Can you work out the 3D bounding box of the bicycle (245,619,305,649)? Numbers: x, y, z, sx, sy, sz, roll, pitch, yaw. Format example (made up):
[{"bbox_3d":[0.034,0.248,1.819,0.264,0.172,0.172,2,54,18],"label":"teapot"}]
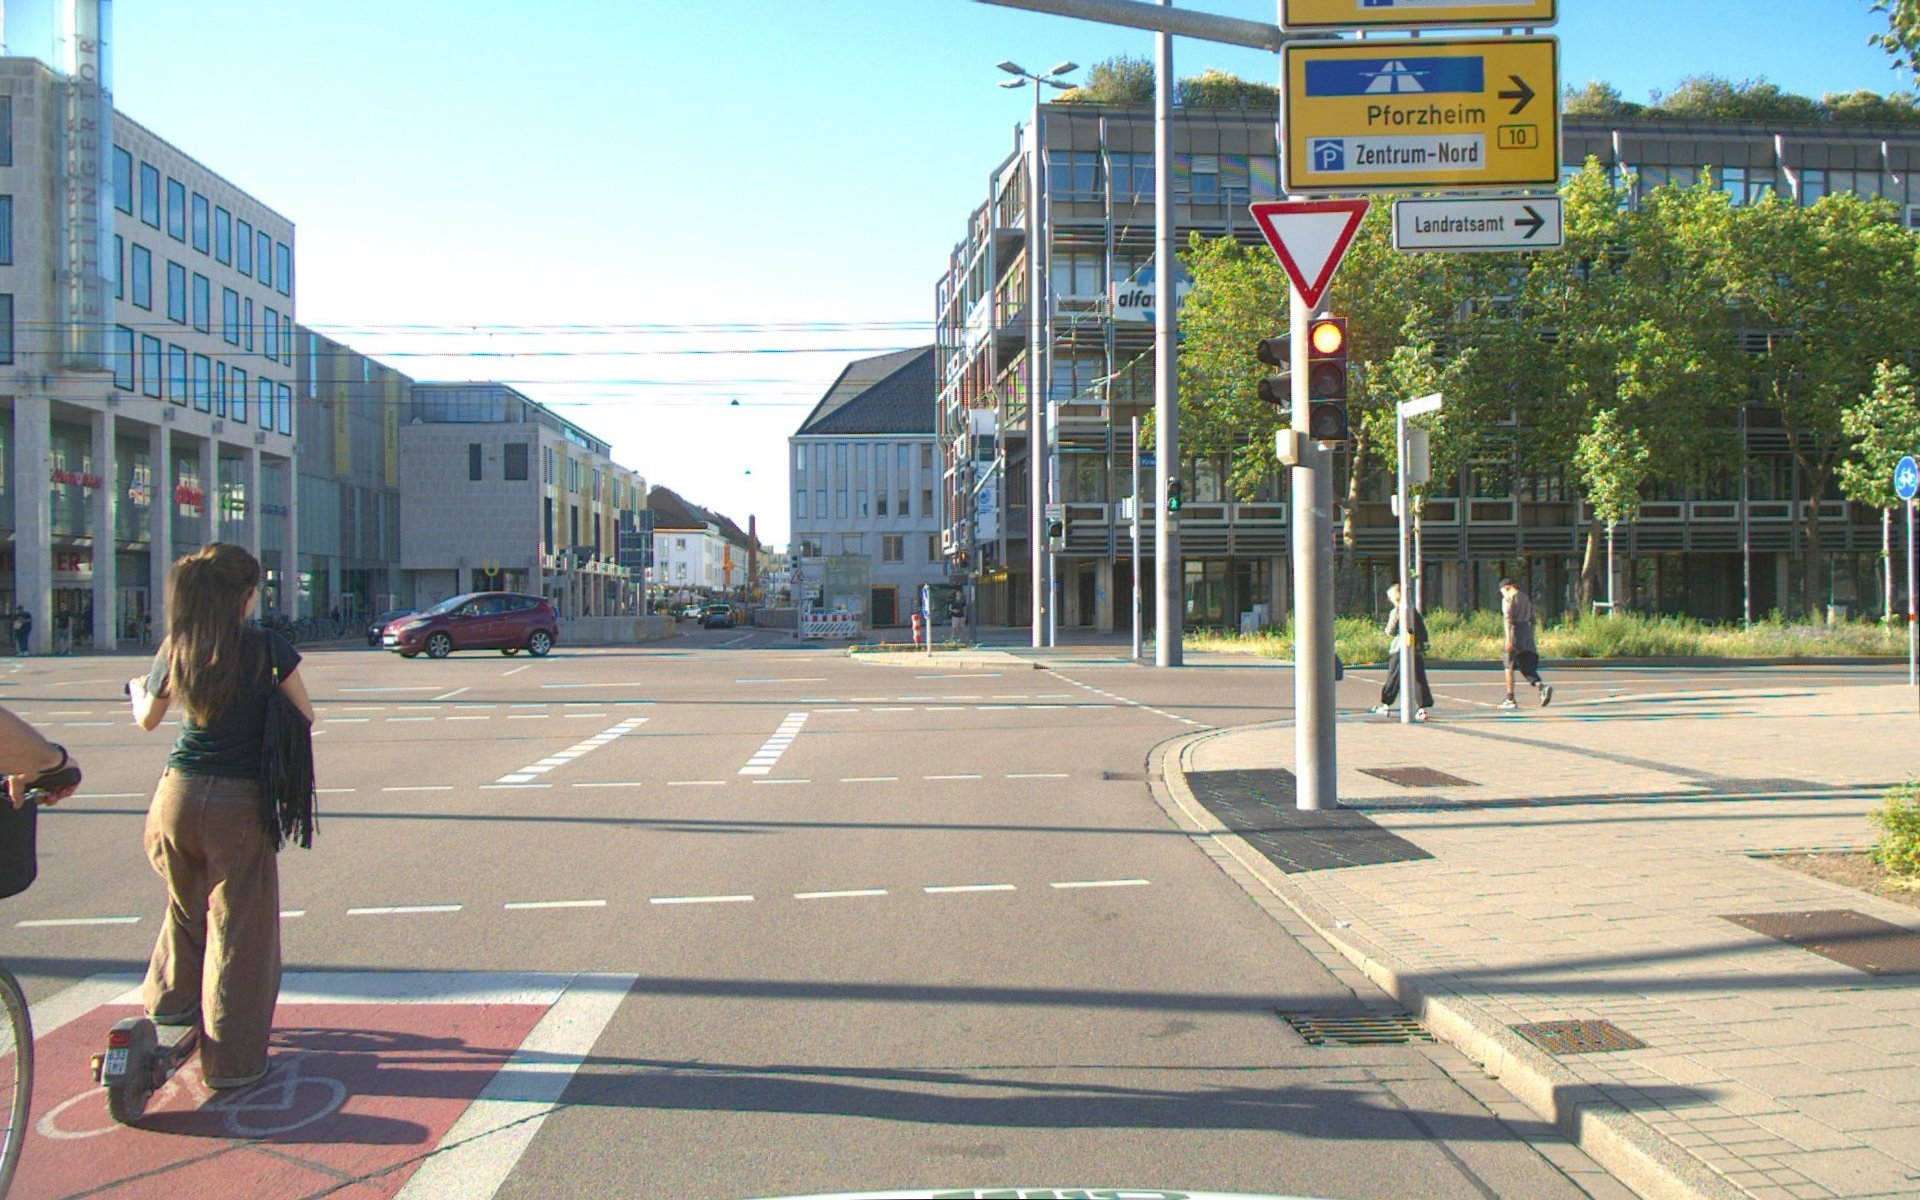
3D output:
[{"bbox_3d":[-29.295,1.437,70.752,2.260,1.244,0.611,0,0,-3],"label":"bicycle"}]

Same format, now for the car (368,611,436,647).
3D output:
[{"bbox_3d":[-23.382,1.207,69.481,1.597,1.365,3.998,-3,0,-3],"label":"car"}]

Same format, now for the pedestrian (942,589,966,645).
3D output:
[{"bbox_3d":[-0.207,0.577,57.295,0.772,1.923,0.644,1,-1,-1],"label":"pedestrian"}]

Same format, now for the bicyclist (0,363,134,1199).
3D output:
[{"bbox_3d":[-1.979,0.464,2.850,0.647,1.750,0.865,1,-1,-1],"label":"bicyclist"}]

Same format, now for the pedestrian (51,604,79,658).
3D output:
[{"bbox_3d":[-31.175,1.071,57.600,0.788,1.876,0.854,0,0,-33],"label":"pedestrian"}]

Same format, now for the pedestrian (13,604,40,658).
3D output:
[{"bbox_3d":[-32.866,1.080,58.259,0.787,1.876,0.856,0,0,-29],"label":"pedestrian"}]

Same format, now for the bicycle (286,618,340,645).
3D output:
[{"bbox_3d":[-30.070,1.450,76.845,2.260,1.244,0.611,0,0,-3],"label":"bicycle"}]

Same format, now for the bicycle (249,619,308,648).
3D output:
[{"bbox_3d":[-29.508,1.437,71.629,2.260,1.244,0.611,0,0,-3],"label":"bicycle"}]

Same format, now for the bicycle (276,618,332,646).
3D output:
[{"bbox_3d":[-29.609,1.449,74.694,2.260,1.244,0.611,0,0,-3],"label":"bicycle"}]

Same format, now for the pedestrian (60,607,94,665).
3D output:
[{"bbox_3d":[-31.616,1.288,59.219,0.868,2.049,0.771,1,-1,-12],"label":"pedestrian"}]

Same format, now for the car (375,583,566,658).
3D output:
[{"bbox_3d":[-11.052,0.429,37.481,3.864,1.613,1.634,0,0,-42],"label":"car"}]

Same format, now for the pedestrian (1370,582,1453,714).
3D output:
[{"bbox_3d":[5.296,0.555,19.439,0.772,1.518,0.644,1,-1,-1],"label":"pedestrian"}]

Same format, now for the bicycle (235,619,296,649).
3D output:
[{"bbox_3d":[-29.131,1.434,69.399,2.260,1.244,0.611,0,0,-3],"label":"bicycle"}]

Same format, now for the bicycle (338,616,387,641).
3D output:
[{"bbox_3d":[-30.821,1.474,85.334,2.260,1.244,0.611,0,0,-3],"label":"bicycle"}]

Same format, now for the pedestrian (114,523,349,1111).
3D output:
[{"bbox_3d":[-2.188,0.616,5.026,0.540,1.661,0.569,1,-1,-16],"label":"pedestrian"}]

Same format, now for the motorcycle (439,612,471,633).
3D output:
[{"bbox_3d":[-29.767,1.327,97.472,1.775,1.228,0.509,1,0,-16],"label":"motorcycle"}]

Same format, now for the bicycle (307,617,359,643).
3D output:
[{"bbox_3d":[-30.339,1.459,80.047,2.260,1.244,0.611,0,0,-3],"label":"bicycle"}]

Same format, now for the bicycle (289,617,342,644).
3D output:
[{"bbox_3d":[-30.719,1.447,78.815,2.260,1.244,0.611,0,0,-3],"label":"bicycle"}]

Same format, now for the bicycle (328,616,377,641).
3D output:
[{"bbox_3d":[-30.933,1.467,84.264,2.260,1.244,0.611,0,0,-3],"label":"bicycle"}]

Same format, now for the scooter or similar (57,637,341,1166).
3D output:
[{"bbox_3d":[-2.179,0.784,4.858,0.538,1.316,1.189,1,0,-15],"label":"scooter or similar"}]

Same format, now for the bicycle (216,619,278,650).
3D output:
[{"bbox_3d":[-29.338,1.425,68.113,2.260,1.244,0.611,0,0,-3],"label":"bicycle"}]

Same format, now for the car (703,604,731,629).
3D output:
[{"bbox_3d":[-15.832,1.056,107.943,1.705,1.558,3.849,1,0,-8],"label":"car"}]

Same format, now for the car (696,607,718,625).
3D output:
[{"bbox_3d":[-24.555,1.565,160.691,1.762,1.686,3.996,1,0,-5],"label":"car"}]

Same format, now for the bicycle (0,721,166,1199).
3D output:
[{"bbox_3d":[-2.082,0.868,2.925,0.475,1.176,1.831,1,0,-1],"label":"bicycle"}]

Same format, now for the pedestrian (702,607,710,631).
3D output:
[{"bbox_3d":[-17.930,1.357,116.909,0.511,1.709,0.582,1,0,-8],"label":"pedestrian"}]

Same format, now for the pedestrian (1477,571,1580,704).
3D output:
[{"bbox_3d":[7.451,0.486,21.706,0.865,1.694,0.959,1,-1,-19],"label":"pedestrian"}]

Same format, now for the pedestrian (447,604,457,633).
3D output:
[{"bbox_3d":[-30.104,1.073,98.074,0.512,1.709,0.581,1,0,-14],"label":"pedestrian"}]

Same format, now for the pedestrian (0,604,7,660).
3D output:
[{"bbox_3d":[-33.121,1.080,56.725,0.706,1.918,0.780,1,-1,-28],"label":"pedestrian"}]

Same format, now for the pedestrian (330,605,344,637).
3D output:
[{"bbox_3d":[-33.453,1.125,88.792,0.544,1.709,0.606,1,0,-11],"label":"pedestrian"}]
